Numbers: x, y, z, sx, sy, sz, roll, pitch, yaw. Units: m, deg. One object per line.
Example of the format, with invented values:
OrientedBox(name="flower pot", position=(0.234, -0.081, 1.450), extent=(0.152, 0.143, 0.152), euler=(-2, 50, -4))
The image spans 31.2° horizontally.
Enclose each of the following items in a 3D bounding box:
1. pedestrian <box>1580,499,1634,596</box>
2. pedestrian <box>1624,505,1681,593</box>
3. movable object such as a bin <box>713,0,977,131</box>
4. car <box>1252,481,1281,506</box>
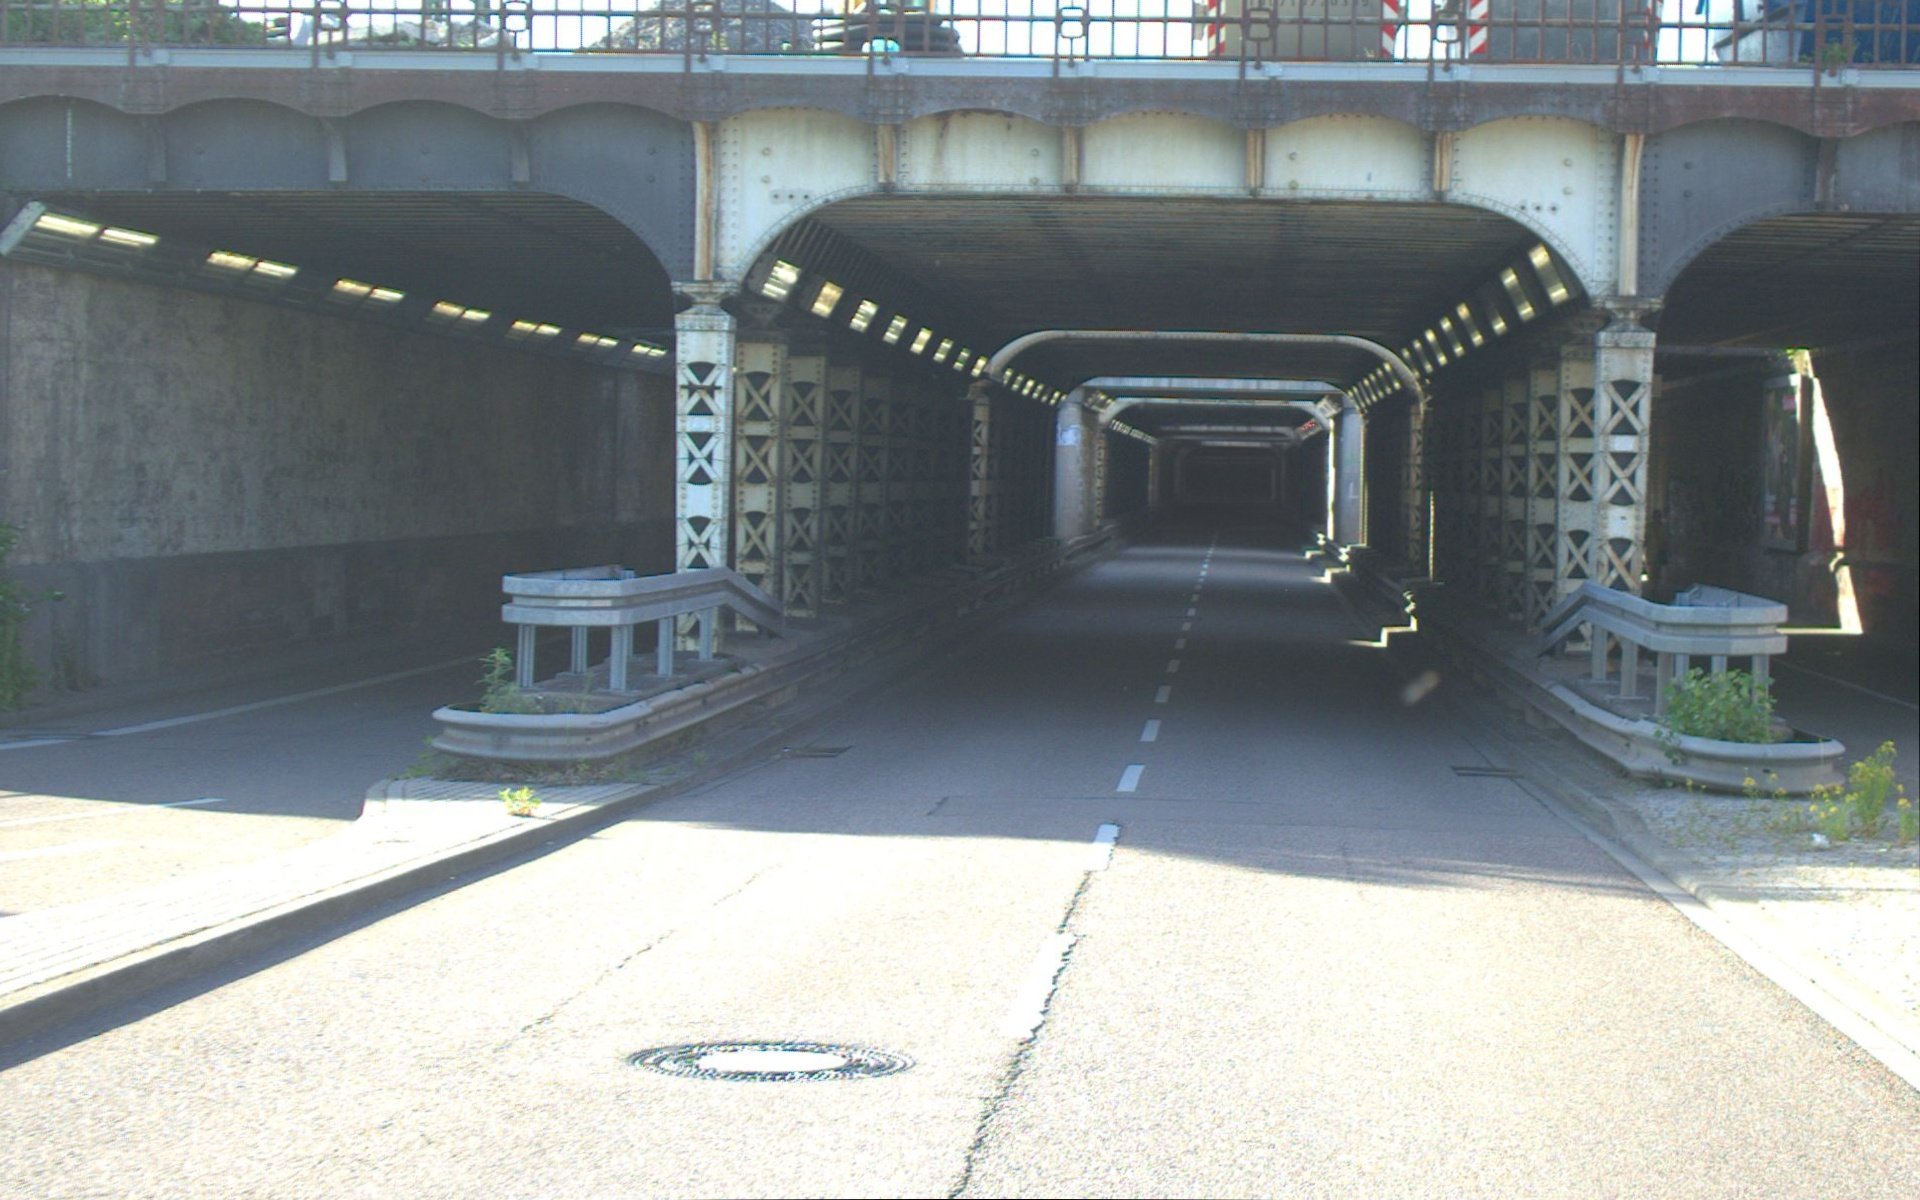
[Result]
OrientedBox(name="pedestrian", position=(12.411, -1.022, 65.950), extent=(0.880, 1.829, 0.923), euler=(-1, 2, 2))
OrientedBox(name="pedestrian", position=(13.250, -0.982, 65.810), extent=(0.916, 1.650, 0.886), euler=(-1, 2, 2))
OrientedBox(name="movable object such as a bin", position=(-1.046, -6.136, 34.401), extent=(1.994, 2.218, 4.830), euler=(2, 1, 5))
OrientedBox(name="car", position=(22.420, -7.795, 251.599), extent=(1.994, 1.777, 4.000), euler=(1, 2, 4))
